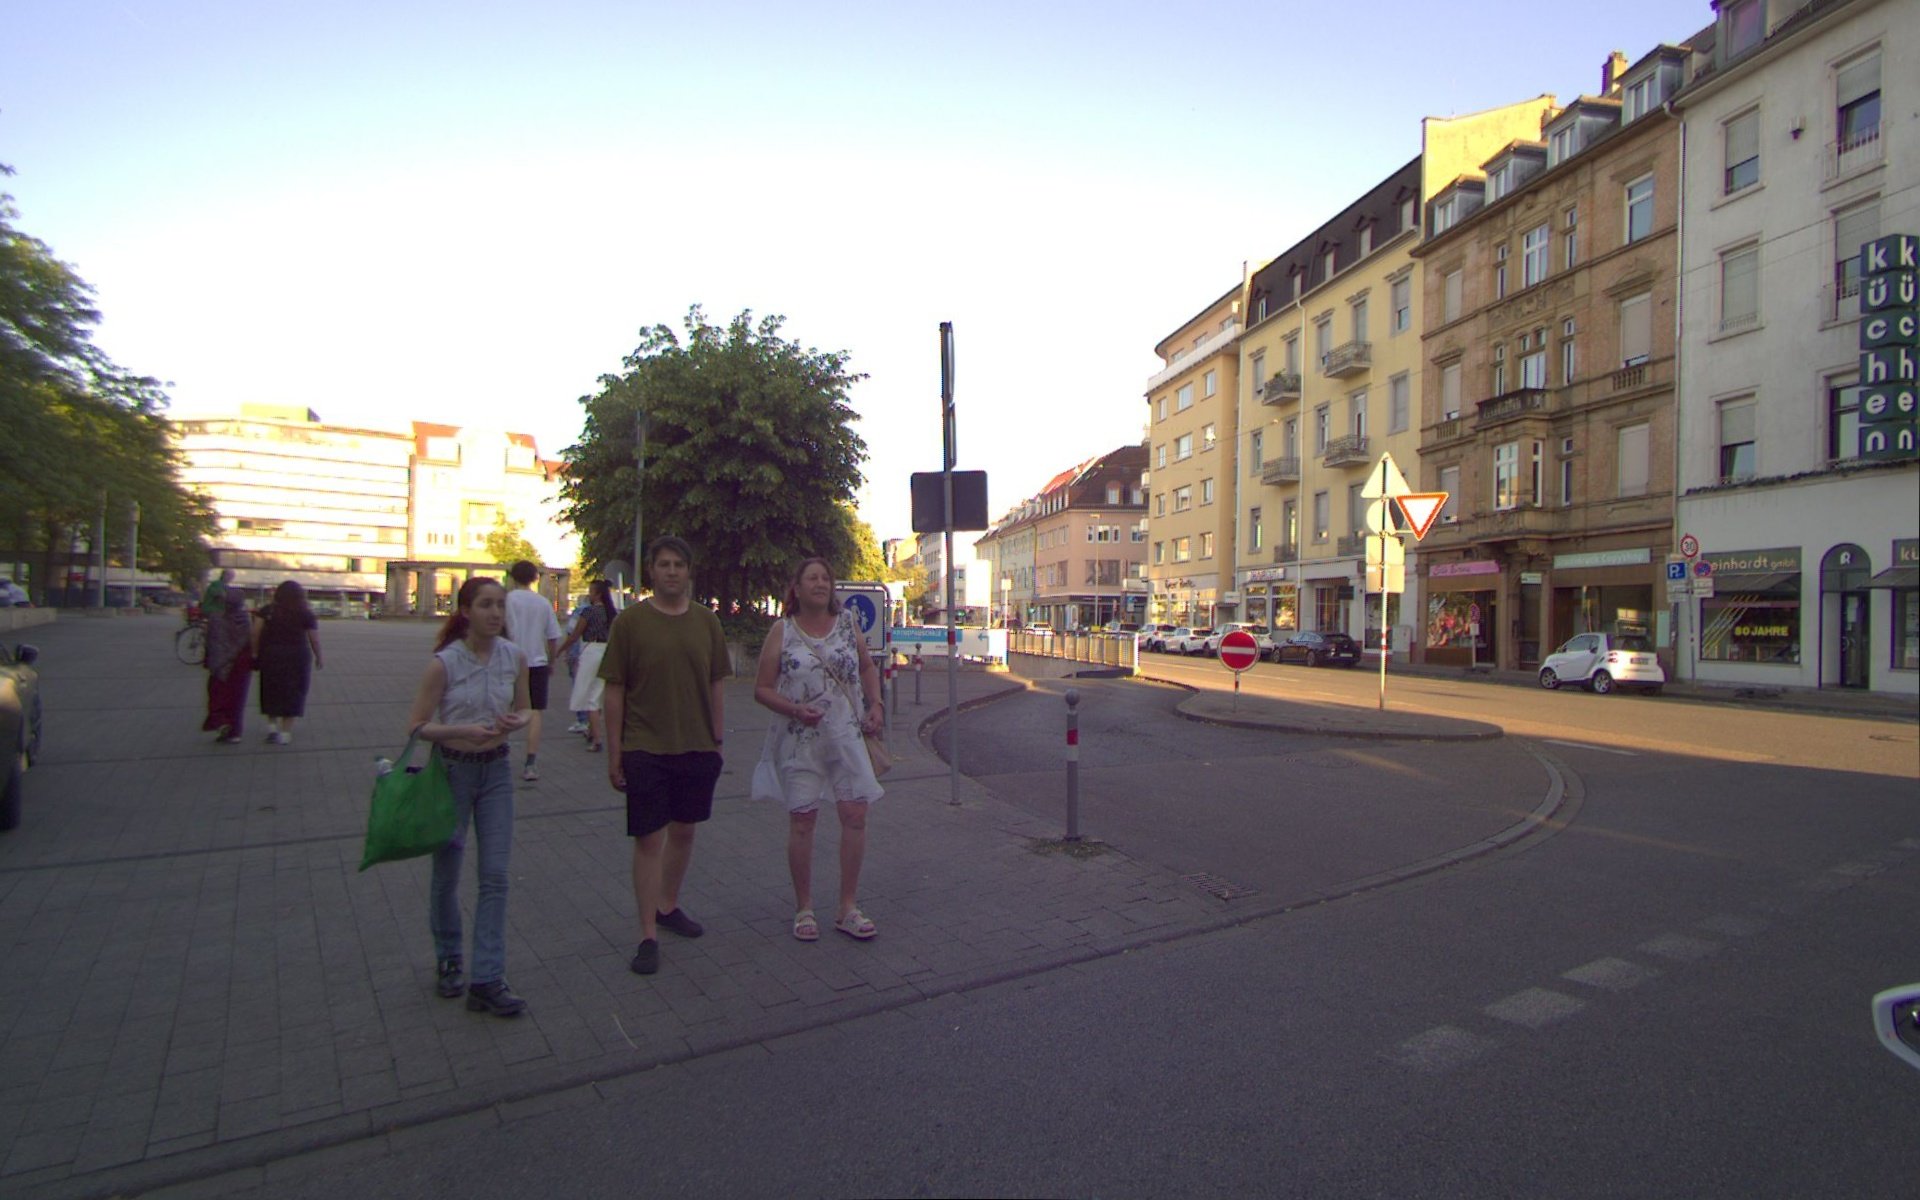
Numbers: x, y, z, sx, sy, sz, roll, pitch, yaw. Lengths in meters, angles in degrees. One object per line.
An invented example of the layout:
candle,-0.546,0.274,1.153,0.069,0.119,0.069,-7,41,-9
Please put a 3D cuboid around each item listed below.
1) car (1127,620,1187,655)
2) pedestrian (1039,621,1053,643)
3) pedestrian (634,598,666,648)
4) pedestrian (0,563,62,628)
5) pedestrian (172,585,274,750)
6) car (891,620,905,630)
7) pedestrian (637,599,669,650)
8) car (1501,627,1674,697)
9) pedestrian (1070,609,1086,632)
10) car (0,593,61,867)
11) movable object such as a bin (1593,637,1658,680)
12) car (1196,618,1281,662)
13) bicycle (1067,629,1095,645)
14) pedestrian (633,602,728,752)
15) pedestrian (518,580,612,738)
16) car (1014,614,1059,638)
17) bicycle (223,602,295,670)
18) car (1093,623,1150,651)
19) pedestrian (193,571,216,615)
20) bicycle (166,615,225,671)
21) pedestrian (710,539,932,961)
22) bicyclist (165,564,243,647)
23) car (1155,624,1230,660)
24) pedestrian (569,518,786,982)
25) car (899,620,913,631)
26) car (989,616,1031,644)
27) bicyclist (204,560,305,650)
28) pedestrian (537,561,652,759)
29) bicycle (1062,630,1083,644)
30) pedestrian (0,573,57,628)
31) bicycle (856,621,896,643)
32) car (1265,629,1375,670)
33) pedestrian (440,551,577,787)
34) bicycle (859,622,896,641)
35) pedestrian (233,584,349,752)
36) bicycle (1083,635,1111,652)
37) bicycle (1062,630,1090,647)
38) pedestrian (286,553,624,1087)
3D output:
car,11.121,2.081,57.013,1.840,1.785,4.399,2,0,-11
pedestrian,6.749,2.492,78.583,0.784,1.743,0.809,2,-1,-17
pedestrian,-13.168,0.978,42.642,0.896,2.040,0.919,2,-1,13
pedestrian,-24.917,-0.108,26.854,1.256,1.669,0.701,2,-1,-38
pedestrian,-7.262,0.646,9.922,0.671,1.563,0.589,2,0,-26
car,-10.942,4.479,178.057,1.964,1.638,3.993,2,-2,-10
pedestrian,-12.770,1.022,41.806,0.896,2.040,0.919,2,-1,13
car,16.609,1.587,26.848,1.675,1.606,3.992,1,0,-10
pedestrian,8.946,1.538,76.212,0.863,1.743,0.752,3,-1,-35
car,-7.427,0.687,6.599,2.090,1.450,4.397,2,0,-40
movable object such as a bin,19.280,1.684,29.120,0.853,1.202,1.395,1,-1,-11
car,12.620,1.792,45.812,1.854,1.768,4.650,2,0,-10
bicycle,8.674,2.647,71.780,1.858,1.127,0.600,2,-1,-13
pedestrian,-2.957,0.792,10.645,0.703,1.506,0.603,2,0,26
pedestrian,-4.615,0.669,11.764,0.675,1.769,0.715,2,0,26
car,5.429,1.875,72.158,2.300,1.625,3.887,2,-1,-10
bicycle,-12.278,0.605,17.566,0.943,1.116,2.304,2,-1,-37
car,10.087,2.271,63.156,1.965,1.634,4.793,2,-2,-12
pedestrian,-34.599,-0.331,46.005,0.725,1.974,0.795,2,-1,-41
bicycle,-13.212,0.726,17.397,0.633,0.893,1.616,2,-1,-32
pedestrian,-0.628,0.659,4.783,0.865,1.827,0.715,2,0,4
bicyclist,-13.312,0.105,17.711,1.000,1.408,0.694,2,-1,-33
car,11.832,2.114,51.484,1.986,1.564,4.860,2,0,-10
pedestrian,-1.314,0.624,4.601,0.840,1.902,0.711,2,0,-22
car,-9.084,4.342,169.013,1.964,1.803,3.993,2,-1,-10
car,3.321,1.987,67.754,1.964,1.773,3.993,2,-1,-10
bicyclist,-12.407,0.104,17.674,1.370,1.529,0.744,2,-1,-39
pedestrian,-3.684,0.583,10.160,0.765,1.900,0.715,2,0,16
bicycle,8.291,2.737,74.108,1.479,1.039,0.511,1,-1,-15
pedestrian,-24.595,0.019,26.352,1.256,1.398,0.729,2,-1,-39
bicycle,-5.482,2.072,65.431,2.460,1.301,0.816,2,-1,10
car,14.251,1.924,40.070,1.964,1.453,4.842,2,-1,-10
pedestrian,-3.835,0.561,8.591,0.971,1.878,0.885,2,0,-23
bicycle,-5.535,2.117,67.648,2.397,1.253,0.461,2,-1,-13
pedestrian,-6.683,0.654,10.077,0.787,1.603,0.727,2,0,-21
bicycle,9.468,2.998,69.386,1.858,1.127,0.592,1,-1,-14
bicycle,8.403,2.777,72.695,1.858,1.183,0.721,1,-1,-14
pedestrian,-1.864,0.698,3.745,0.703,1.691,0.879,2,0,38
